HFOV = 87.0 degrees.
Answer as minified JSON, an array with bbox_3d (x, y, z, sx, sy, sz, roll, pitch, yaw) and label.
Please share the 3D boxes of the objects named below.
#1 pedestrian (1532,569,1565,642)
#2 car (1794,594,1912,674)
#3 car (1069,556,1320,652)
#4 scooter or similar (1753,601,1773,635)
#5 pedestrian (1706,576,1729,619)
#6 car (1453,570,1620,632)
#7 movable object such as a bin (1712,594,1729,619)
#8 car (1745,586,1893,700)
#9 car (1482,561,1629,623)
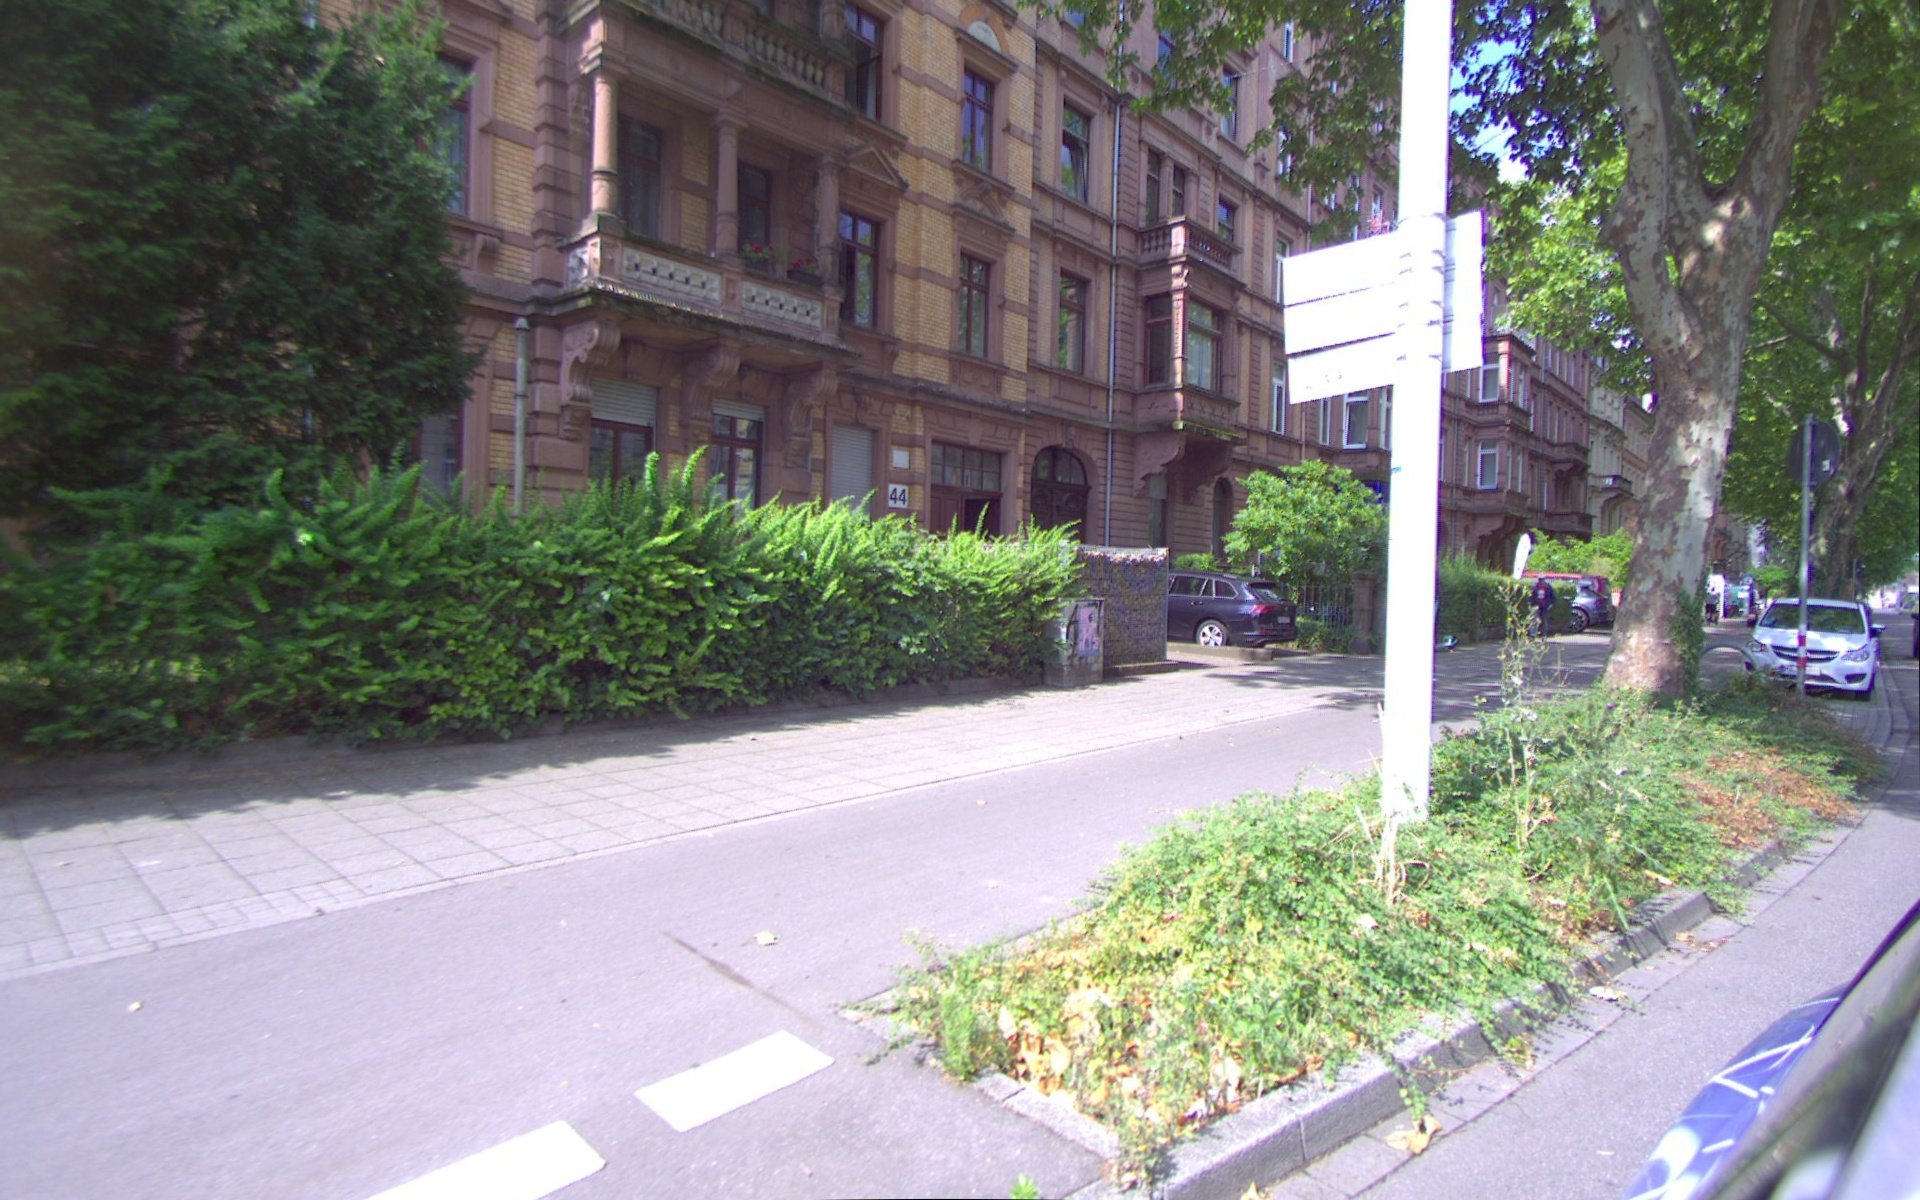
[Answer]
[{"bbox_3d":[14.783,0.125,25.419,0.564,1.808,0.620,2,1,43],"label":"pedestrian"},{"bbox_3d":[18.585,0.640,21.070,1.677,1.462,3.799,3,2,42],"label":"car"},{"bbox_3d":[4.352,0.004,19.193,4.236,1.487,1.911,5,3,44],"label":"car"},{"bbox_3d":[30.394,0.676,38.307,0.467,1.226,1.303,2,1,42],"label":"scooter or similar"},{"bbox_3d":[37.380,-0.110,49.952,0.763,2.038,1.104,5,3,38],"label":"pedestrian"},{"bbox_3d":[19.487,-0.008,34.291,4.708,1.804,1.980,4,2,36],"label":"car"},{"bbox_3d":[38.078,0.311,50.655,0.606,1.224,1.044,5,3,37],"label":"movable object such as a bin"},{"bbox_3d":[13.936,0.613,16.373,1.554,1.503,3.799,7,5,42],"label":"car"},{"bbox_3d":[22.700,-0.344,38.675,4.399,1.962,1.952,7,4,44],"label":"car"}]
